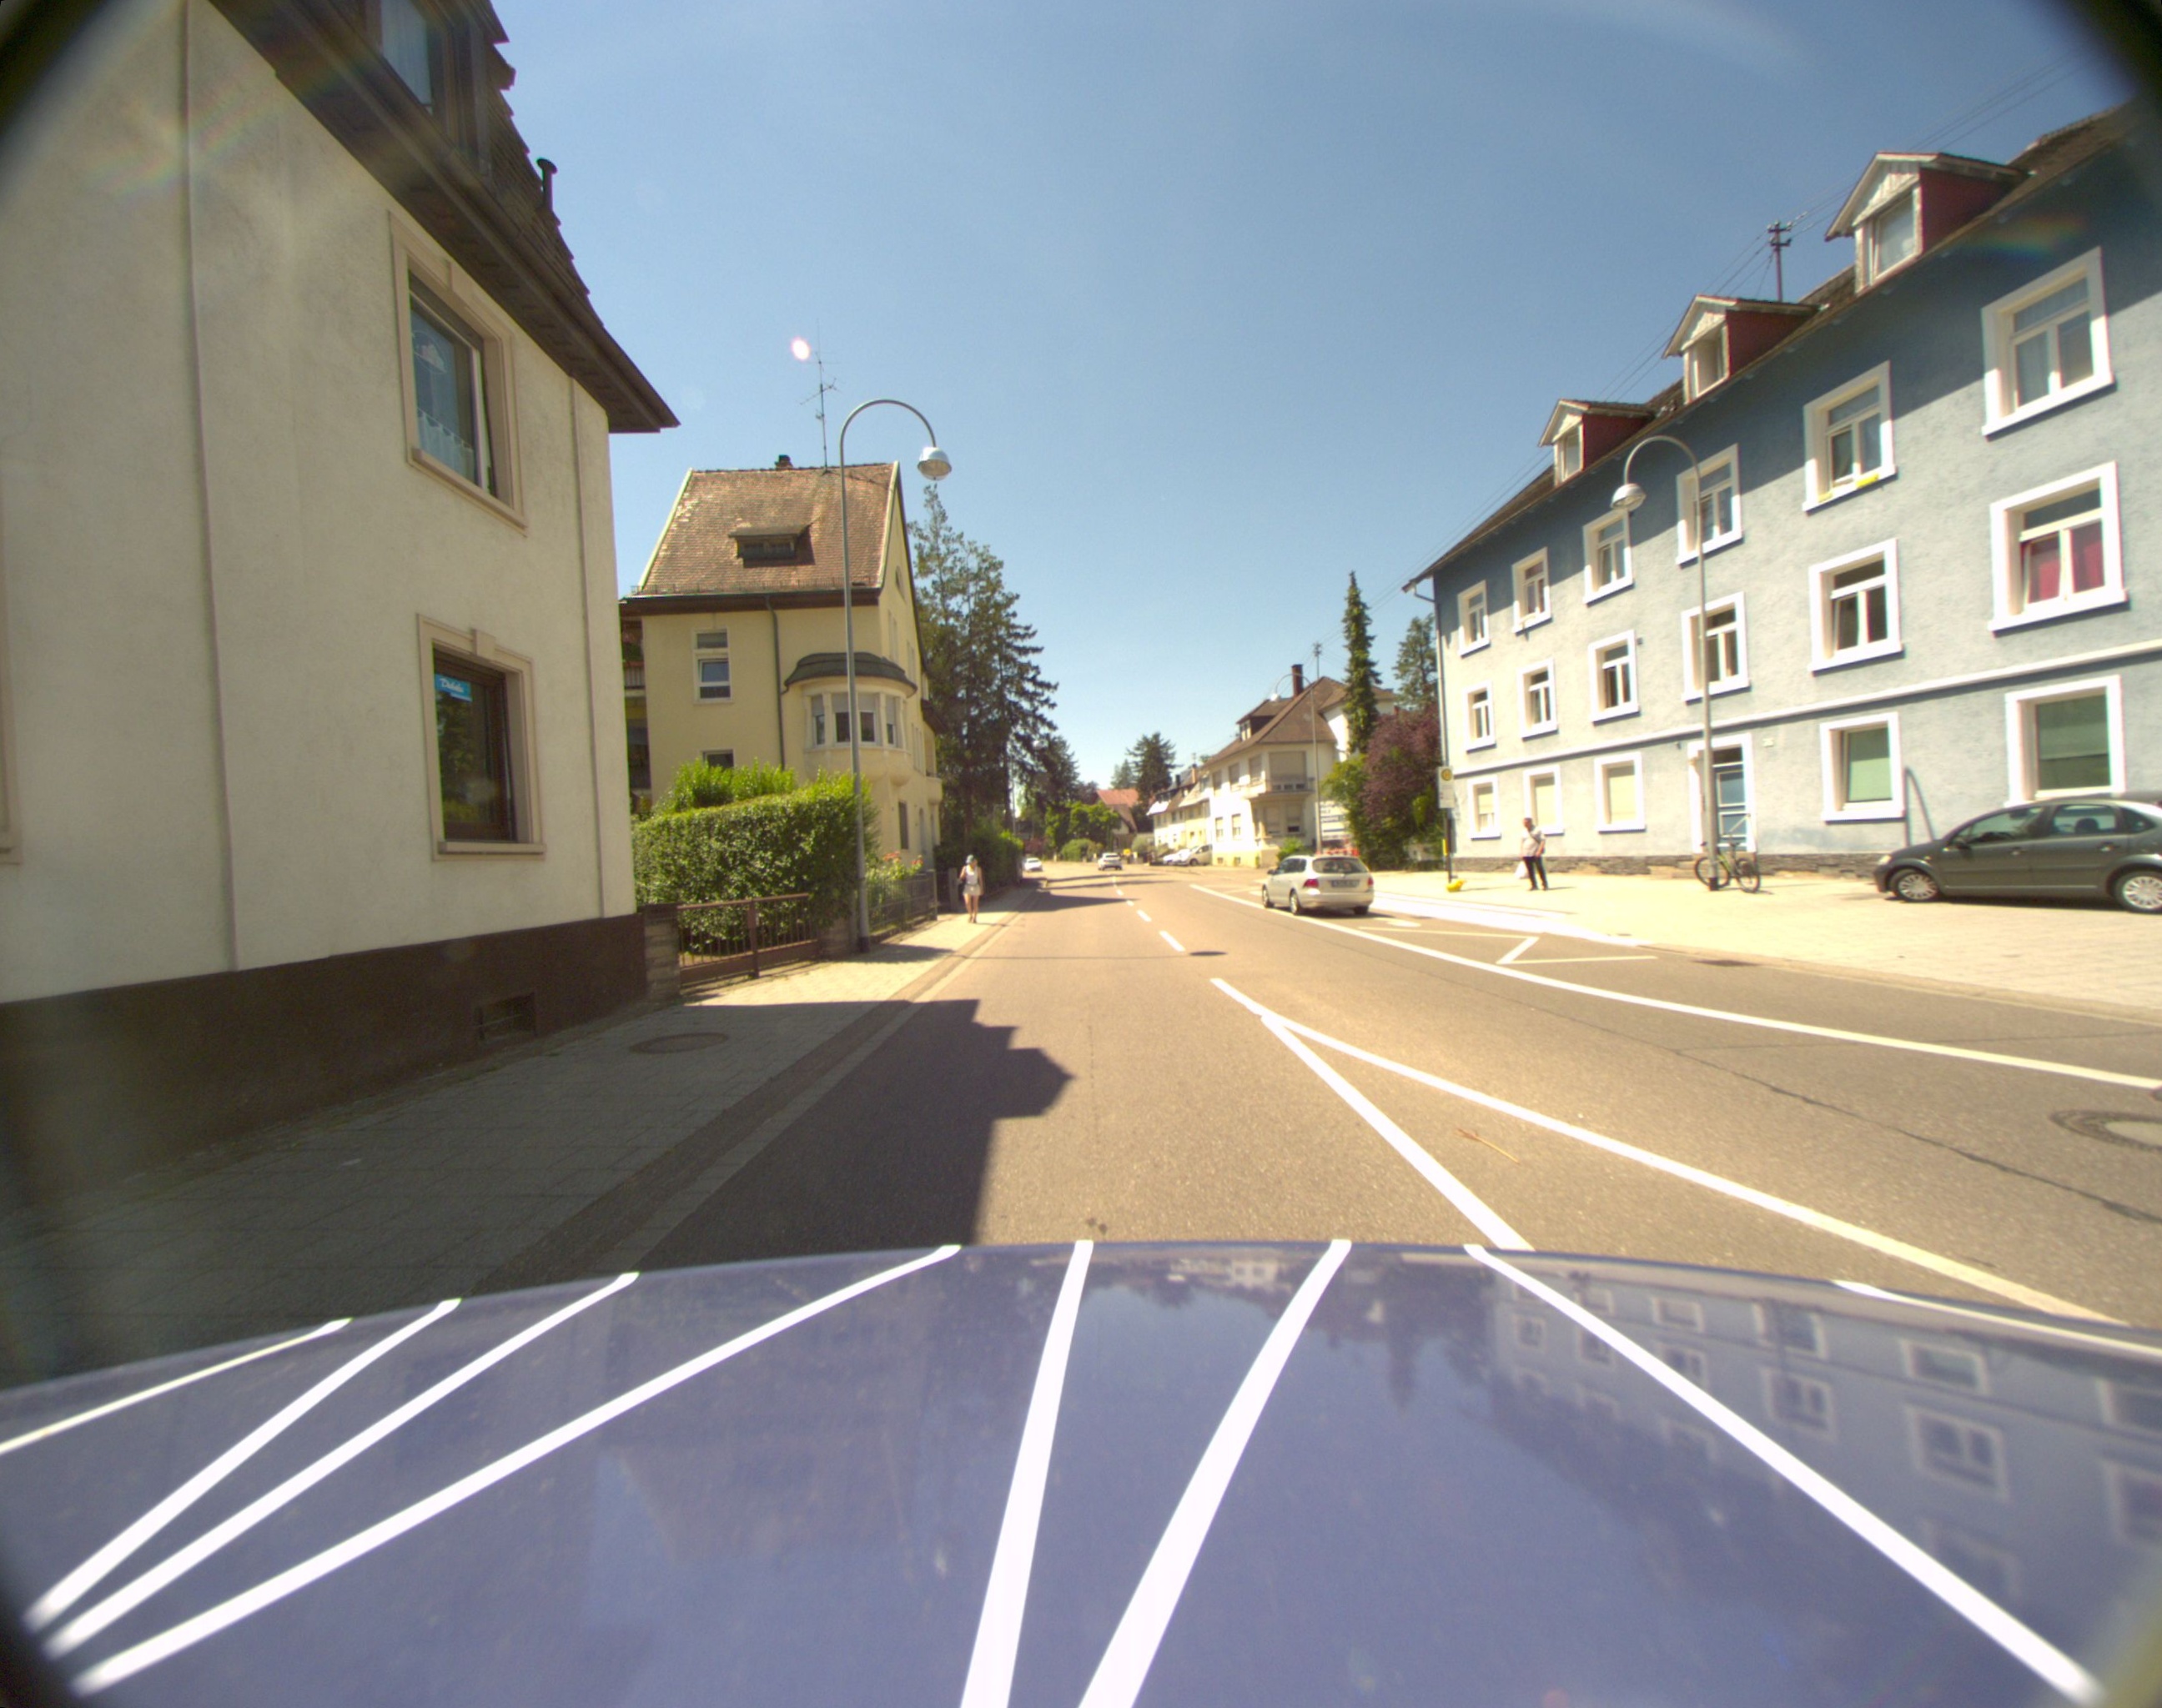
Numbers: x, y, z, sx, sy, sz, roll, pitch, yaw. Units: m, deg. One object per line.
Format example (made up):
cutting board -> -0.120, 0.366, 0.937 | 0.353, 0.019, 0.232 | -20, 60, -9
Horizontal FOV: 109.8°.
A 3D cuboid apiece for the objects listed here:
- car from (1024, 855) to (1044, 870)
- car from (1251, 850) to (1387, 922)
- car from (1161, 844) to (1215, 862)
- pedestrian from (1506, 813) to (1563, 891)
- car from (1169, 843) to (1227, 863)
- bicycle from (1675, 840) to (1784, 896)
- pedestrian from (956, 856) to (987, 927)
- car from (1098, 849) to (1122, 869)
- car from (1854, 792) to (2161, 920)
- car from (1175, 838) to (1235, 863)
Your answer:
car -> -5.114, 0.895, 82.277 | 1.689, 1.446, 3.737 | -5, 1, -8
car -> 5.812, 0.805, 19.160 | 1.843, 1.520, 4.393 | 2, -2, -3
car -> 9.388, -0.097, 66.754 | 4.264, 1.486, 1.880 | -1, 0, 25
pedestrian -> 11.239, -0.049, 18.835 | 0.758, 1.838, 0.771 | -7, 1, -8
car -> 9.763, -0.092, 63.695 | 4.484, 1.486, 1.975 | -2, 0, -5
bicycle -> 12.762, 0.245, 15.034 | 0.497, 0.972, 1.973 | -7, 1, 4
pedestrian -> -2.604, 0.877, 18.196 | 0.625, 1.634, 0.771 | 2, 1, -4
car -> 2.574, 0.444, 67.995 | 1.825, 1.521, 3.948 | -3, 2, -1
car -> 13.750, -0.044, 10.753 | 1.582, 1.526, 3.772 | -3, 2, -6
car -> 9.976, -0.286, 61.254 | 4.367, 1.866, 1.848 | -1, 0, -13
